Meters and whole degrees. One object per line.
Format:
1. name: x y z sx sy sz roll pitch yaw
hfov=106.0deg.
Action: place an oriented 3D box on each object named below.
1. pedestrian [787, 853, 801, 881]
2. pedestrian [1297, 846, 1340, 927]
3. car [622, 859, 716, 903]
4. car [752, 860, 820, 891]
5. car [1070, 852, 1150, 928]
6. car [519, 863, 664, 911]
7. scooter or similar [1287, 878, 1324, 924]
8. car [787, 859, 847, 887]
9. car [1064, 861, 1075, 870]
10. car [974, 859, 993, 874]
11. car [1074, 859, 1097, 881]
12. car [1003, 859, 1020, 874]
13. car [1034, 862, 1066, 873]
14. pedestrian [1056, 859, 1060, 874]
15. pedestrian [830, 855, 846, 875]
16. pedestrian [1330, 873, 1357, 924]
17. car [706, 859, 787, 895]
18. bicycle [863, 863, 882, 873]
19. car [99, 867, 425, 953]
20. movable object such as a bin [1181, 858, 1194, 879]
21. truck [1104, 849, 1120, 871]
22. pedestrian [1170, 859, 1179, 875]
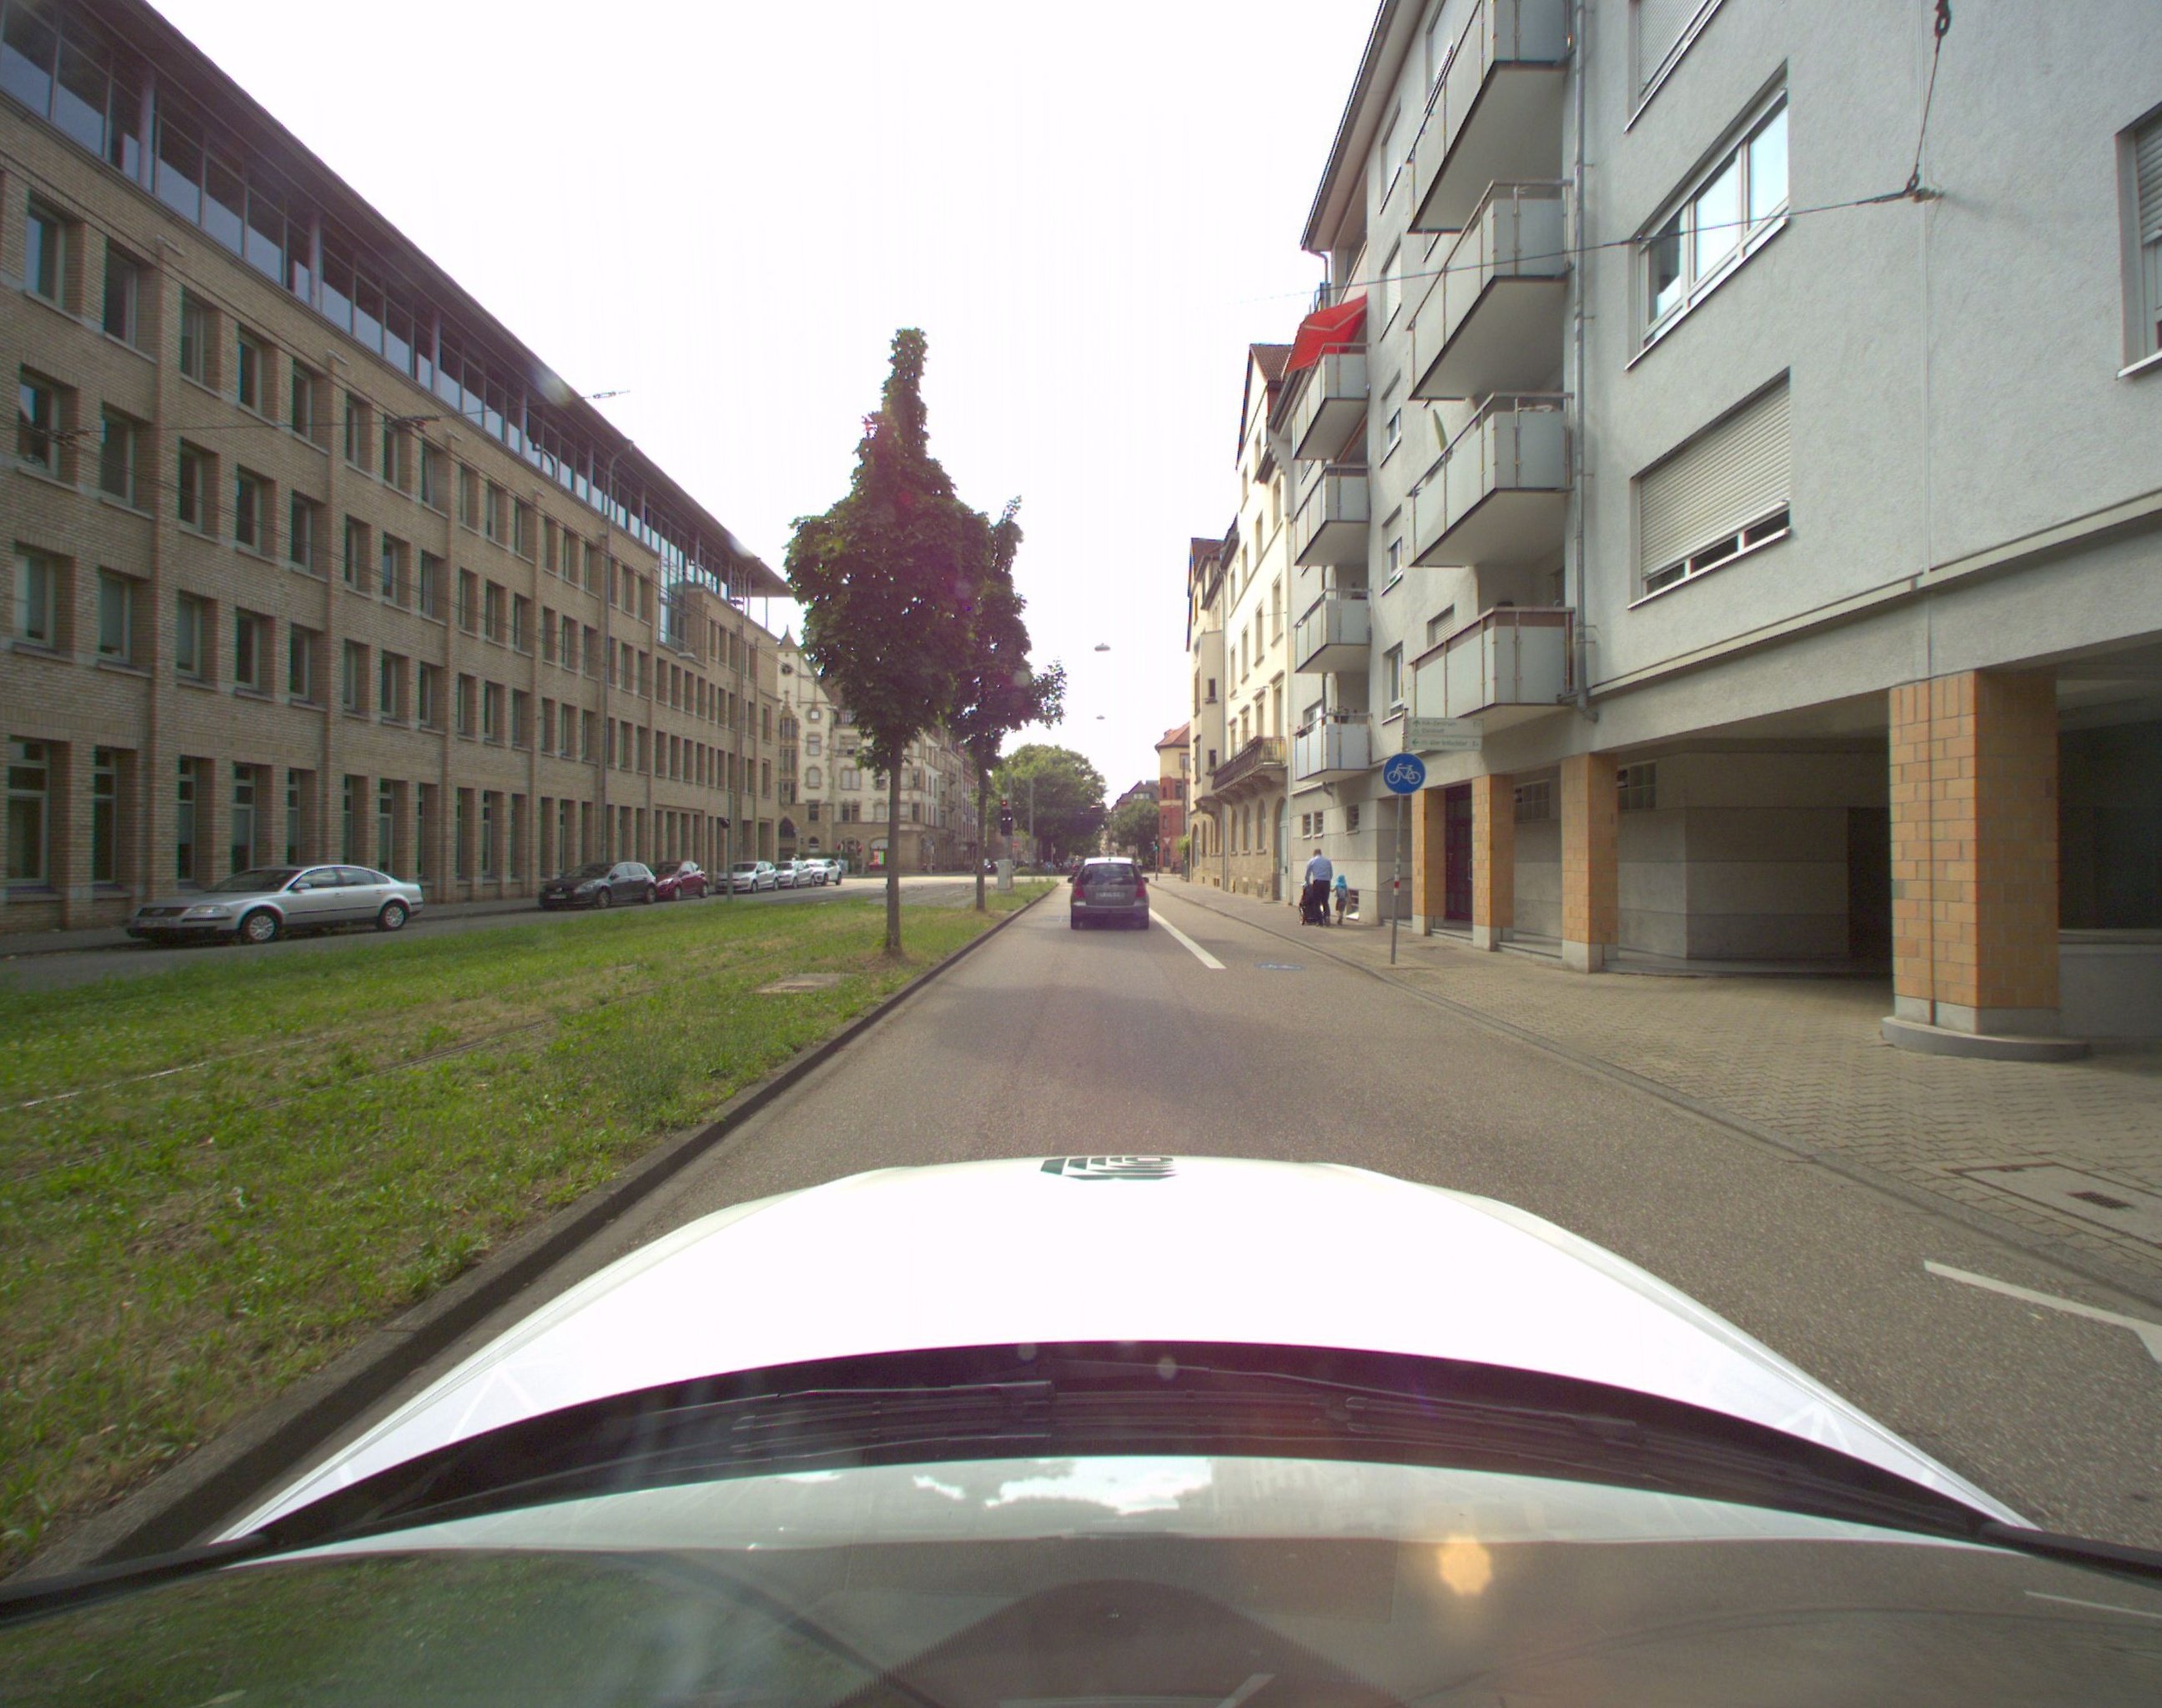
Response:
1. pedestrian: -18.304 0.819 51.974 0.763 1.795 0.952 1 -1 -24
2. pedestrian: 5.337 0.723 18.307 0.618 1.738 0.877 -4 -1 2
3. car: -15.257 0.964 30.384 1.576 1.531 3.551 0 0 2
4. car: -15.255 1.083 42.380 1.925 1.531 4.016 0 0 2
5. car: 0.686 0.792 19.401 1.716 1.605 3.678 -1 -1 2
6. car: -15.360 0.992 25.864 1.925 1.396 4.241 0 0 2
7. scooter or similar: 5.288 1.104 19.198 0.590 1.002 0.906 -4 -1 2
8. car: -15.091 1.057 46.863 1.925 1.535 4.260 0 0 2
9. car: -2.058 1.922 140.775 1.746 1.517 3.500 0 -1 1
10. car: -11.441 1.444 95.480 1.990 1.618 3.994 -1 -1 -4
11. car: 0.363 1.244 65.136 1.716 1.706 3.678 -1 -1 2
12. car: -8.260 1.469 96.937 1.990 1.728 3.994 -1 -1 -4
13. car: -3.737 1.637 98.167 1.984 1.339 3.954 1 -1 -38
14. pedestrian: -2.657 1.406 93.362 0.492 1.725 0.653 0 -1 -4
15. pedestrian: -20.664 0.941 69.180 1.029 1.722 0.767 1 -1 -43
16. pedestrian: 5.998 1.006 18.618 0.454 1.135 0.494 -1 -1 2
17. car: -15.163 0.997 37.176 1.844 1.531 4.212 0 0 2
18. bicycle: -21.994 1.495 85.890 1.916 1.081 0.776 -1 -1 -10
19. car: -15.531 0.970 15.888 1.708 1.396 4.486 0 0 2
20. movable object such as a bin: 7.678 1.045 58.604 0.714 1.472 0.980 -1 -1 -8
21. truck: 4.451 0.868 116.418 2.113 2.970 4.005 -1 -1 5
22. pedestrian: 9.533 1.317 83.232 0.865 1.657 0.737 0 -1 5
